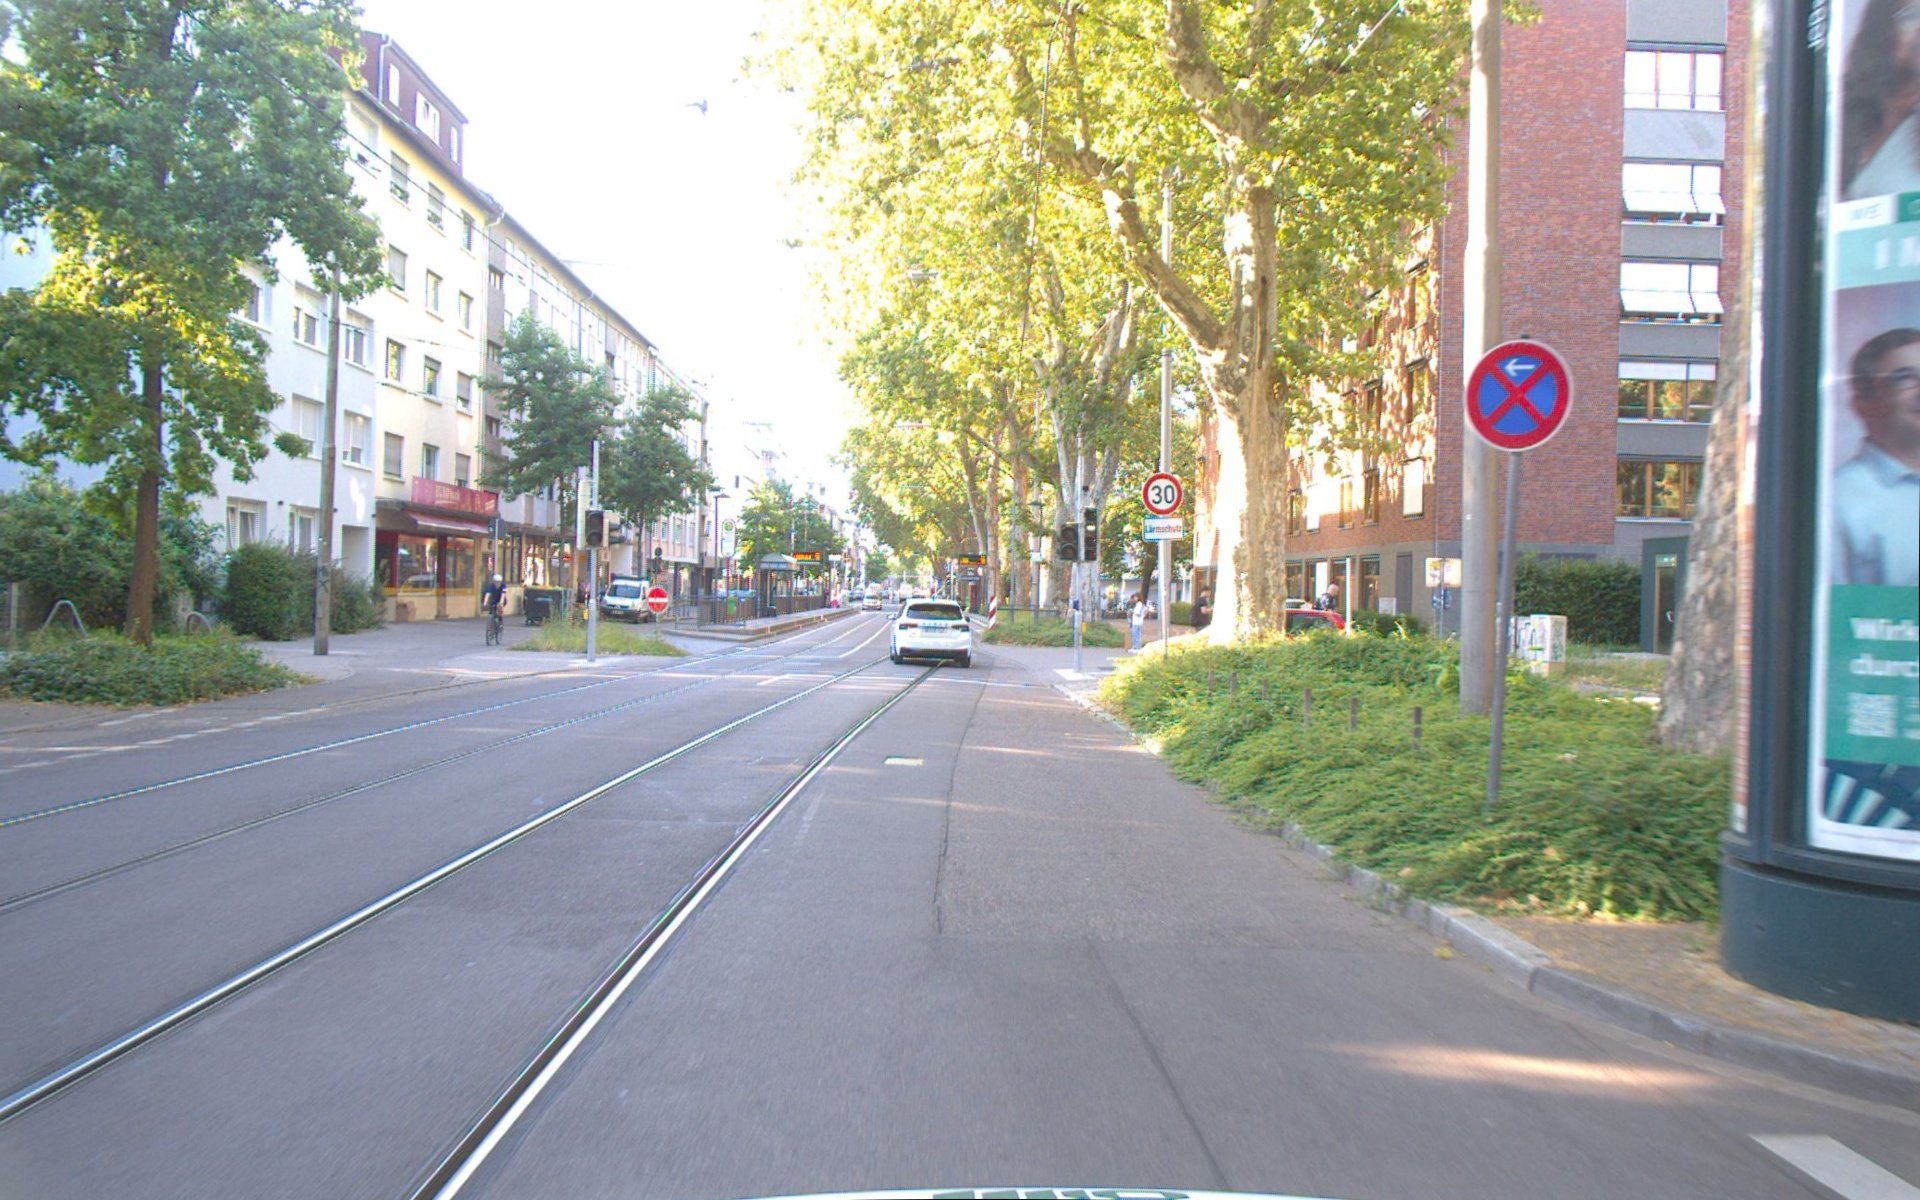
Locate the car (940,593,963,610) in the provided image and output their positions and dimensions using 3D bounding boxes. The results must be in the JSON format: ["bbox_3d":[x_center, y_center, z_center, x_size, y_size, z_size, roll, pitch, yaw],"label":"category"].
[{"bbox_3d":[-0.770,0.131,150.656,1.953,1.478,3.999,1,0,-2],"label":"car"}]

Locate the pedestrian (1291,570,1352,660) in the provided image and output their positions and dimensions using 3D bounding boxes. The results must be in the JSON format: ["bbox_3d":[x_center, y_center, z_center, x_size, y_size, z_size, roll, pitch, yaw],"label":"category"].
[{"bbox_3d":[7.912,0.310,36.221,0.964,1.896,1.014,-2,1,-7],"label":"pedestrian"}]

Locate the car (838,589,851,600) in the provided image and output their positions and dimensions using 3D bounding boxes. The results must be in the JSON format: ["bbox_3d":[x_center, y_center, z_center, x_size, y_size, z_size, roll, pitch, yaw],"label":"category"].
[{"bbox_3d":[-16.933,-0.771,243.303,1.752,1.540,3.999,1,0,-2],"label":"car"}]

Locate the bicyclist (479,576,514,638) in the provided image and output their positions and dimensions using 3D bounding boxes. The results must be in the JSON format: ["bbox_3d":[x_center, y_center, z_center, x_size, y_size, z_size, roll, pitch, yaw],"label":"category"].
[{"bbox_3d":[-11.257,0.162,40.169,0.628,1.480,0.836,0,0,-2],"label":"bicyclist"}]

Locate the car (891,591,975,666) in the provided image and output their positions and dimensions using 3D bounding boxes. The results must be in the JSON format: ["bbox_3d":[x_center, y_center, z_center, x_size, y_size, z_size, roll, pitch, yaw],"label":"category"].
[{"bbox_3d":[-0.630,0.592,37.074,1.752,1.540,3.999,1,0,-2],"label":"car"}]

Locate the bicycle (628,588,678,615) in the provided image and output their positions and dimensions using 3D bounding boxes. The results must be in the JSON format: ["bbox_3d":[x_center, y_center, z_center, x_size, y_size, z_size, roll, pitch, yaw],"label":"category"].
[{"bbox_3d":[-14.530,0.055,78.298,2.207,1.092,0.636,4,0,-1],"label":"bicycle"}]

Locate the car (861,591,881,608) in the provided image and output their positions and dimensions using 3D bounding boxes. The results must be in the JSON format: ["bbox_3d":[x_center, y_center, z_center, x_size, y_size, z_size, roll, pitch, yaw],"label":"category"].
[{"bbox_3d":[-8.071,-0.074,150.484,1.659,1.444,3.999,1,0,-2],"label":"car"}]

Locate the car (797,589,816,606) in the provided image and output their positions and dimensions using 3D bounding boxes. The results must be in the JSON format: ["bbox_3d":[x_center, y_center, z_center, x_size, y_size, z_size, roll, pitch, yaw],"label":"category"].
[{"bbox_3d":[-15.558,-0.283,167.824,1.644,1.575,3.999,3,0,-2],"label":"car"}]

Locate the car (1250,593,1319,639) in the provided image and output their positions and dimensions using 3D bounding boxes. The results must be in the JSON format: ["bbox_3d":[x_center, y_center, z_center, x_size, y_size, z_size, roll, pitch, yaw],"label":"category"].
[{"bbox_3d":[11.363,0.533,58.081,1.568,1.521,3.415,1,0,-3],"label":"car"}]

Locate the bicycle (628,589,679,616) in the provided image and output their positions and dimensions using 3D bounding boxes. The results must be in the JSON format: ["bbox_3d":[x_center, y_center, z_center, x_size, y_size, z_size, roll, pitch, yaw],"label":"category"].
[{"bbox_3d":[-14.207,0.106,76.680,2.207,1.092,0.636,4,0,-1],"label":"bicycle"}]

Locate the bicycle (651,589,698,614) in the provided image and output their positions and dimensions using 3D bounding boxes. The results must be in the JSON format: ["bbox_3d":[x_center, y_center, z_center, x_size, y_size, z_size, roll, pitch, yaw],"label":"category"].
[{"bbox_3d":[-14.470,0.073,83.947,2.207,1.092,0.636,4,0,-1],"label":"bicycle"}]

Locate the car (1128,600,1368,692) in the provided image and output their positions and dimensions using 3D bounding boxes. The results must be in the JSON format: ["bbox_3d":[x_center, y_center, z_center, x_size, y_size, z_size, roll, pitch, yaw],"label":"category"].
[{"bbox_3d":[4.832,0.757,28.111,3.804,1.448,1.649,1,0,1],"label":"car"}]

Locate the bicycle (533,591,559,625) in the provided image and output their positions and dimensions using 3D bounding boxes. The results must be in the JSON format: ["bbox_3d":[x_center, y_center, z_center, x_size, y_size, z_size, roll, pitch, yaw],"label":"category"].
[{"bbox_3d":[-14.323,0.273,57.206,0.489,1.126,1.798,5,0,-4],"label":"bicycle"}]

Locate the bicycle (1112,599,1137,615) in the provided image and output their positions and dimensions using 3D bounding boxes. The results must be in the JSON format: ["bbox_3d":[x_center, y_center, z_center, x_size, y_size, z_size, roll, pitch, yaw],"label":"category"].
[{"bbox_3d":[10.829,0.448,108.939,1.533,1.055,0.504,1,0,20],"label":"bicycle"}]

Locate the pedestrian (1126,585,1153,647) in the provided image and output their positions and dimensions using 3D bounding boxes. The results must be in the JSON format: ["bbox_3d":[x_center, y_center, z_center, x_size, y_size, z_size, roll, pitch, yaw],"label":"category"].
[{"bbox_3d":[4.996,0.433,46.065,0.639,1.698,0.738,1,0,-2],"label":"pedestrian"}]

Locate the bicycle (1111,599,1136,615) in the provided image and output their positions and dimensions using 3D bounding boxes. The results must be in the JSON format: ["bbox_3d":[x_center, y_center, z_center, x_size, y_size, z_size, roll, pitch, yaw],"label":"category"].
[{"bbox_3d":[10.690,0.447,108.019,1.533,1.055,0.479,1,0,20],"label":"bicycle"}]

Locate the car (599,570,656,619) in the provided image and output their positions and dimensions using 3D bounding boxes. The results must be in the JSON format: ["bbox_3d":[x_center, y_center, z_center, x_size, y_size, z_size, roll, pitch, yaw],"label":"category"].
[{"bbox_3d":[-13.872,-0.234,69.134,1.654,1.974,3.999,1,0,-2],"label":"car"}]

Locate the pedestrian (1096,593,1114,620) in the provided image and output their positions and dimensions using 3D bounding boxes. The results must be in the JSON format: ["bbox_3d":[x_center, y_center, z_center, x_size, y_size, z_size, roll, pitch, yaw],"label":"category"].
[{"bbox_3d":[9.032,0.416,102.989,0.952,1.652,0.887,1,0,-2],"label":"pedestrian"}]

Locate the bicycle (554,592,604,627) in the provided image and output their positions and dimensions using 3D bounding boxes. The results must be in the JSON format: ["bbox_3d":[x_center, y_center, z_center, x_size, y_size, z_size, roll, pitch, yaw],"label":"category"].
[{"bbox_3d":[-13.338,0.321,57.908,1.503,1.093,0.885,4,0,-3],"label":"bicycle"}]

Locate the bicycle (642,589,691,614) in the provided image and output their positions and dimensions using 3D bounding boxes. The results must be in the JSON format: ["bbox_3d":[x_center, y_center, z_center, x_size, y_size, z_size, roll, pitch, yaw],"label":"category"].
[{"bbox_3d":[-14.565,0.062,82.113,2.207,1.092,0.636,4,0,-1],"label":"bicycle"}]

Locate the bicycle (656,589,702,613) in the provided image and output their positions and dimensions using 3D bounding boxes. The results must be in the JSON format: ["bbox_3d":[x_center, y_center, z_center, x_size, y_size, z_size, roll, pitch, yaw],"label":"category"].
[{"bbox_3d":[-14.590,0.061,85.768,2.207,1.092,0.636,4,0,-1],"label":"bicycle"}]

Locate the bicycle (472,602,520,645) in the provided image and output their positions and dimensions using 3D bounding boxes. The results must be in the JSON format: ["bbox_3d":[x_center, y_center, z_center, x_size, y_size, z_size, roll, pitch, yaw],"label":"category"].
[{"bbox_3d":[-11.251,0.560,40.160,0.628,1.004,2.100,0,0,-2],"label":"bicycle"}]

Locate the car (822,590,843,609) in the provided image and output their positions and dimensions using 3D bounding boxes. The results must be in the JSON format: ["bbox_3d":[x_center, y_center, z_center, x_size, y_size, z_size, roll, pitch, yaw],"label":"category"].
[{"bbox_3d":[-11.404,-0.056,147.876,1.644,1.575,3.999,3,0,-2],"label":"car"}]

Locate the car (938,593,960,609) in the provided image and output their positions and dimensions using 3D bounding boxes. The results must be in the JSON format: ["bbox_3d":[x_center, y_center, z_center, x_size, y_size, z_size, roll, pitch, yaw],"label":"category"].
[{"bbox_3d":[-1.087,0.109,155.733,1.953,1.478,3.999,1,0,-2],"label":"car"}]

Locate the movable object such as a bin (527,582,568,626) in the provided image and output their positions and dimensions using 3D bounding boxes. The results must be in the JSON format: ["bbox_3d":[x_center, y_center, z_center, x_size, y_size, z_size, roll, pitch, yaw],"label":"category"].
[{"bbox_3d":[-13.915,0.139,55.818,1.147,1.371,0.782,5,0,-6],"label":"movable object such as a bin"}]

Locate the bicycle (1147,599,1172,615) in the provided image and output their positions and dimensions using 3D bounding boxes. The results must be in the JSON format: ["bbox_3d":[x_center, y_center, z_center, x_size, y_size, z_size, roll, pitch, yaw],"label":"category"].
[{"bbox_3d":[13.050,0.457,108.173,1.533,1.055,0.479,1,0,20],"label":"bicycle"}]

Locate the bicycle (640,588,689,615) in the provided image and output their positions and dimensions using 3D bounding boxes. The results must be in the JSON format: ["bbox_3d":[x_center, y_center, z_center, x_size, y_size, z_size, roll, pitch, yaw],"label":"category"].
[{"bbox_3d":[-14.369,0.071,80.372,2.207,1.092,0.636,4,0,-1],"label":"bicycle"}]

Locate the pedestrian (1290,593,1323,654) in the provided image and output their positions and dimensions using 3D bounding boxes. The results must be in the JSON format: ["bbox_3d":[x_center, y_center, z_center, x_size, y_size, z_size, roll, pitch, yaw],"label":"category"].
[{"bbox_3d":[9.901,0.660,47.246,0.721,1.698,0.834,1,0,-2],"label":"pedestrian"}]

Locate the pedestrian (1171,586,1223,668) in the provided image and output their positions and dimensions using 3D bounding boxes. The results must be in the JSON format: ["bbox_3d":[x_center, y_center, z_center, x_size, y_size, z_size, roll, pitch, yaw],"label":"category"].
[{"bbox_3d":[5.404,0.606,37.700,0.975,1.842,0.863,1,0,-7],"label":"pedestrian"}]

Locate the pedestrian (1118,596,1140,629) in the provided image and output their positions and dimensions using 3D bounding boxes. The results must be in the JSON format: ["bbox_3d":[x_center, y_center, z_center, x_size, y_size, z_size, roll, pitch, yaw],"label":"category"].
[{"bbox_3d":[8.565,0.629,83.881,0.952,1.652,0.887,1,0,-2],"label":"pedestrian"}]

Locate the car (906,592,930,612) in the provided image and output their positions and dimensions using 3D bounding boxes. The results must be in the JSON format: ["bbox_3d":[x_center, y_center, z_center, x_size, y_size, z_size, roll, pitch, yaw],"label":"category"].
[{"bbox_3d":[-3.249,0.141,128.169,1.752,1.540,3.999,1,0,-2],"label":"car"}]

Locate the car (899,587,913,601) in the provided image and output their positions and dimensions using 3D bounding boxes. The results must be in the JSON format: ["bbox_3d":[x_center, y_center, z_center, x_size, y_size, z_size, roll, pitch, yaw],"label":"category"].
[{"bbox_3d":[-7.694,-0.920,236.268,1.828,1.925,3.999,1,0,-2],"label":"car"}]
